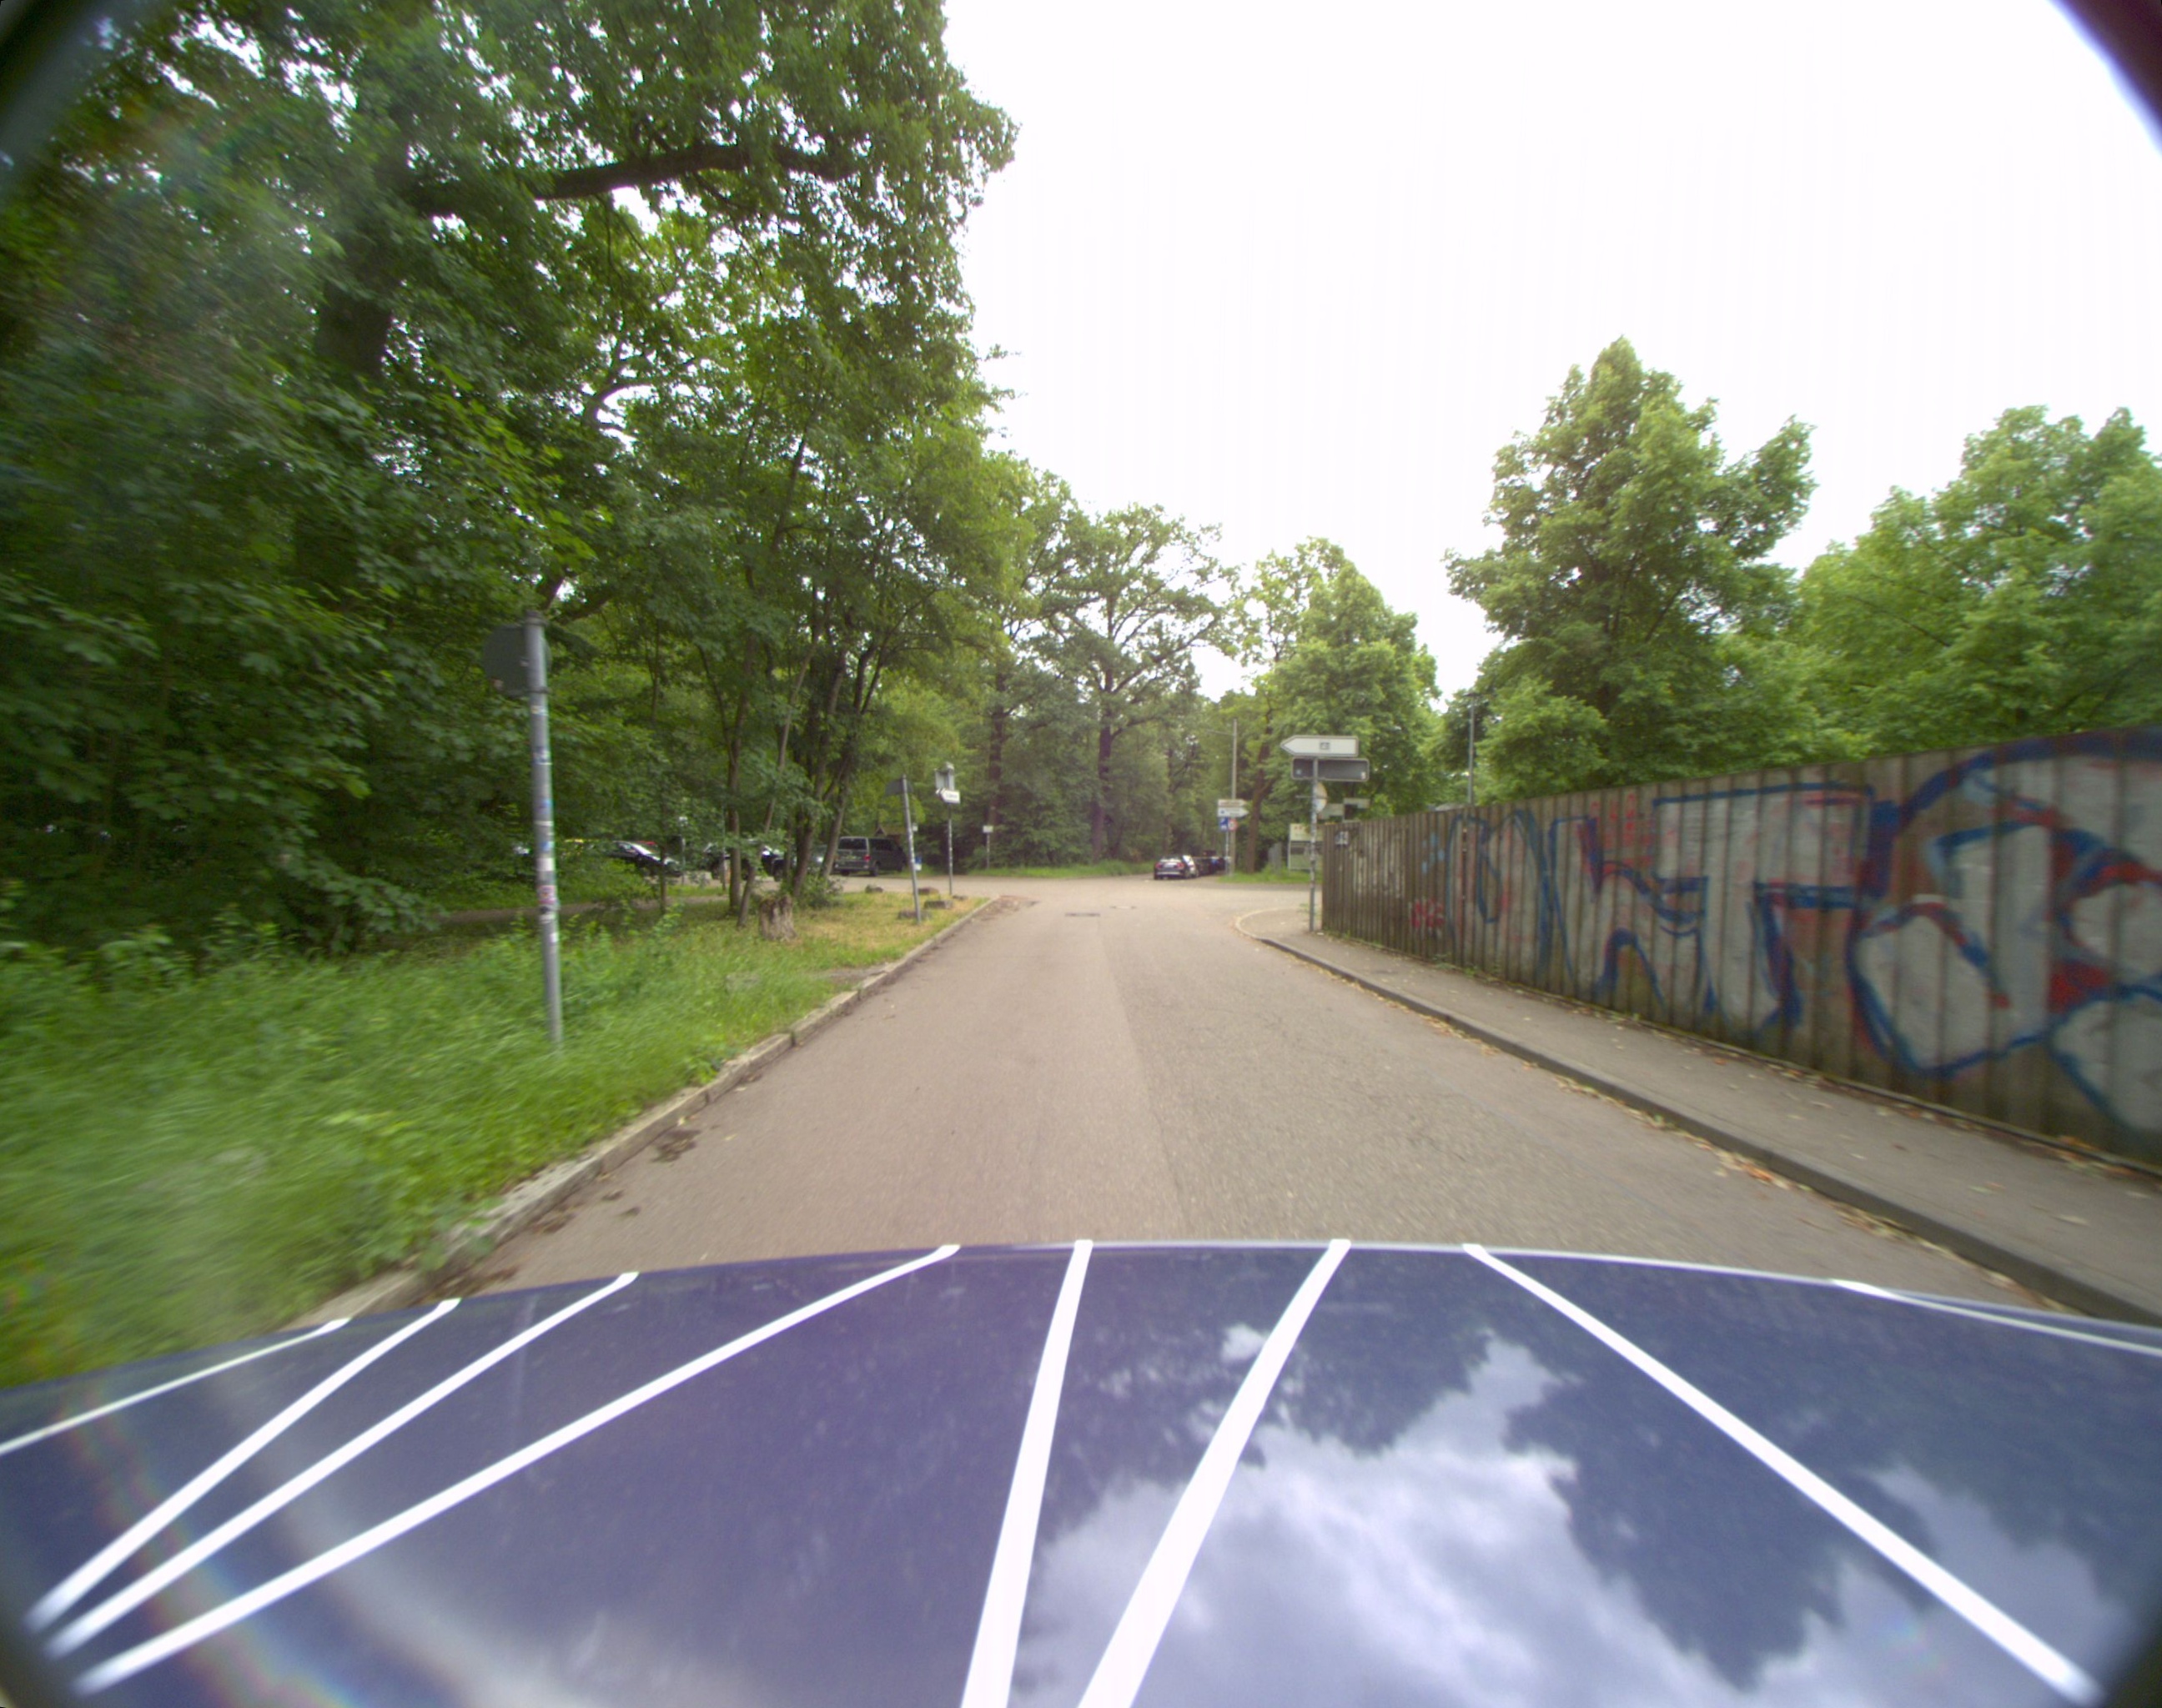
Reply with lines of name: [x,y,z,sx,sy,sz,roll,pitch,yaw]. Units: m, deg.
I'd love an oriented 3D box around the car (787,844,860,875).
car: [-13.216,0.256,39.208,1.806,1.504,3.831,1,0,12]

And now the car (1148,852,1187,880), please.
car: [4.852,0.680,42.233,1.769,1.485,4.331,0,-1,12]

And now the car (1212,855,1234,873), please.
car: [13.678,0.954,73.267,1.956,1.609,3.641,2,1,9]

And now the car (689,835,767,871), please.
car: [-18.415,-0.078,39.830,1.821,1.755,4.002,1,0,8]

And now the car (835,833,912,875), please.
car: [-10.413,-0.005,38.502,1.887,1.966,4.521,1,0,12]

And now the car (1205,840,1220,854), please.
car: [23.607,-1.208,136.684,2.577,2.520,4.939,0,1,10]

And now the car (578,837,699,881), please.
car: [-17.851,0.174,30.689,3.992,1.624,1.816,2,2,10]

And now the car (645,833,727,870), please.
car: [-20.813,-0.135,40.243,1.810,1.851,4.003,1,1,9]

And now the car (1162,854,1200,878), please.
car: [6.236,0.767,46.999,1.997,1.411,4.005,0,-1,12]

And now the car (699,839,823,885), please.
car: [-12.406,0.281,29.540,4.093,1.624,1.816,2,2,10]
